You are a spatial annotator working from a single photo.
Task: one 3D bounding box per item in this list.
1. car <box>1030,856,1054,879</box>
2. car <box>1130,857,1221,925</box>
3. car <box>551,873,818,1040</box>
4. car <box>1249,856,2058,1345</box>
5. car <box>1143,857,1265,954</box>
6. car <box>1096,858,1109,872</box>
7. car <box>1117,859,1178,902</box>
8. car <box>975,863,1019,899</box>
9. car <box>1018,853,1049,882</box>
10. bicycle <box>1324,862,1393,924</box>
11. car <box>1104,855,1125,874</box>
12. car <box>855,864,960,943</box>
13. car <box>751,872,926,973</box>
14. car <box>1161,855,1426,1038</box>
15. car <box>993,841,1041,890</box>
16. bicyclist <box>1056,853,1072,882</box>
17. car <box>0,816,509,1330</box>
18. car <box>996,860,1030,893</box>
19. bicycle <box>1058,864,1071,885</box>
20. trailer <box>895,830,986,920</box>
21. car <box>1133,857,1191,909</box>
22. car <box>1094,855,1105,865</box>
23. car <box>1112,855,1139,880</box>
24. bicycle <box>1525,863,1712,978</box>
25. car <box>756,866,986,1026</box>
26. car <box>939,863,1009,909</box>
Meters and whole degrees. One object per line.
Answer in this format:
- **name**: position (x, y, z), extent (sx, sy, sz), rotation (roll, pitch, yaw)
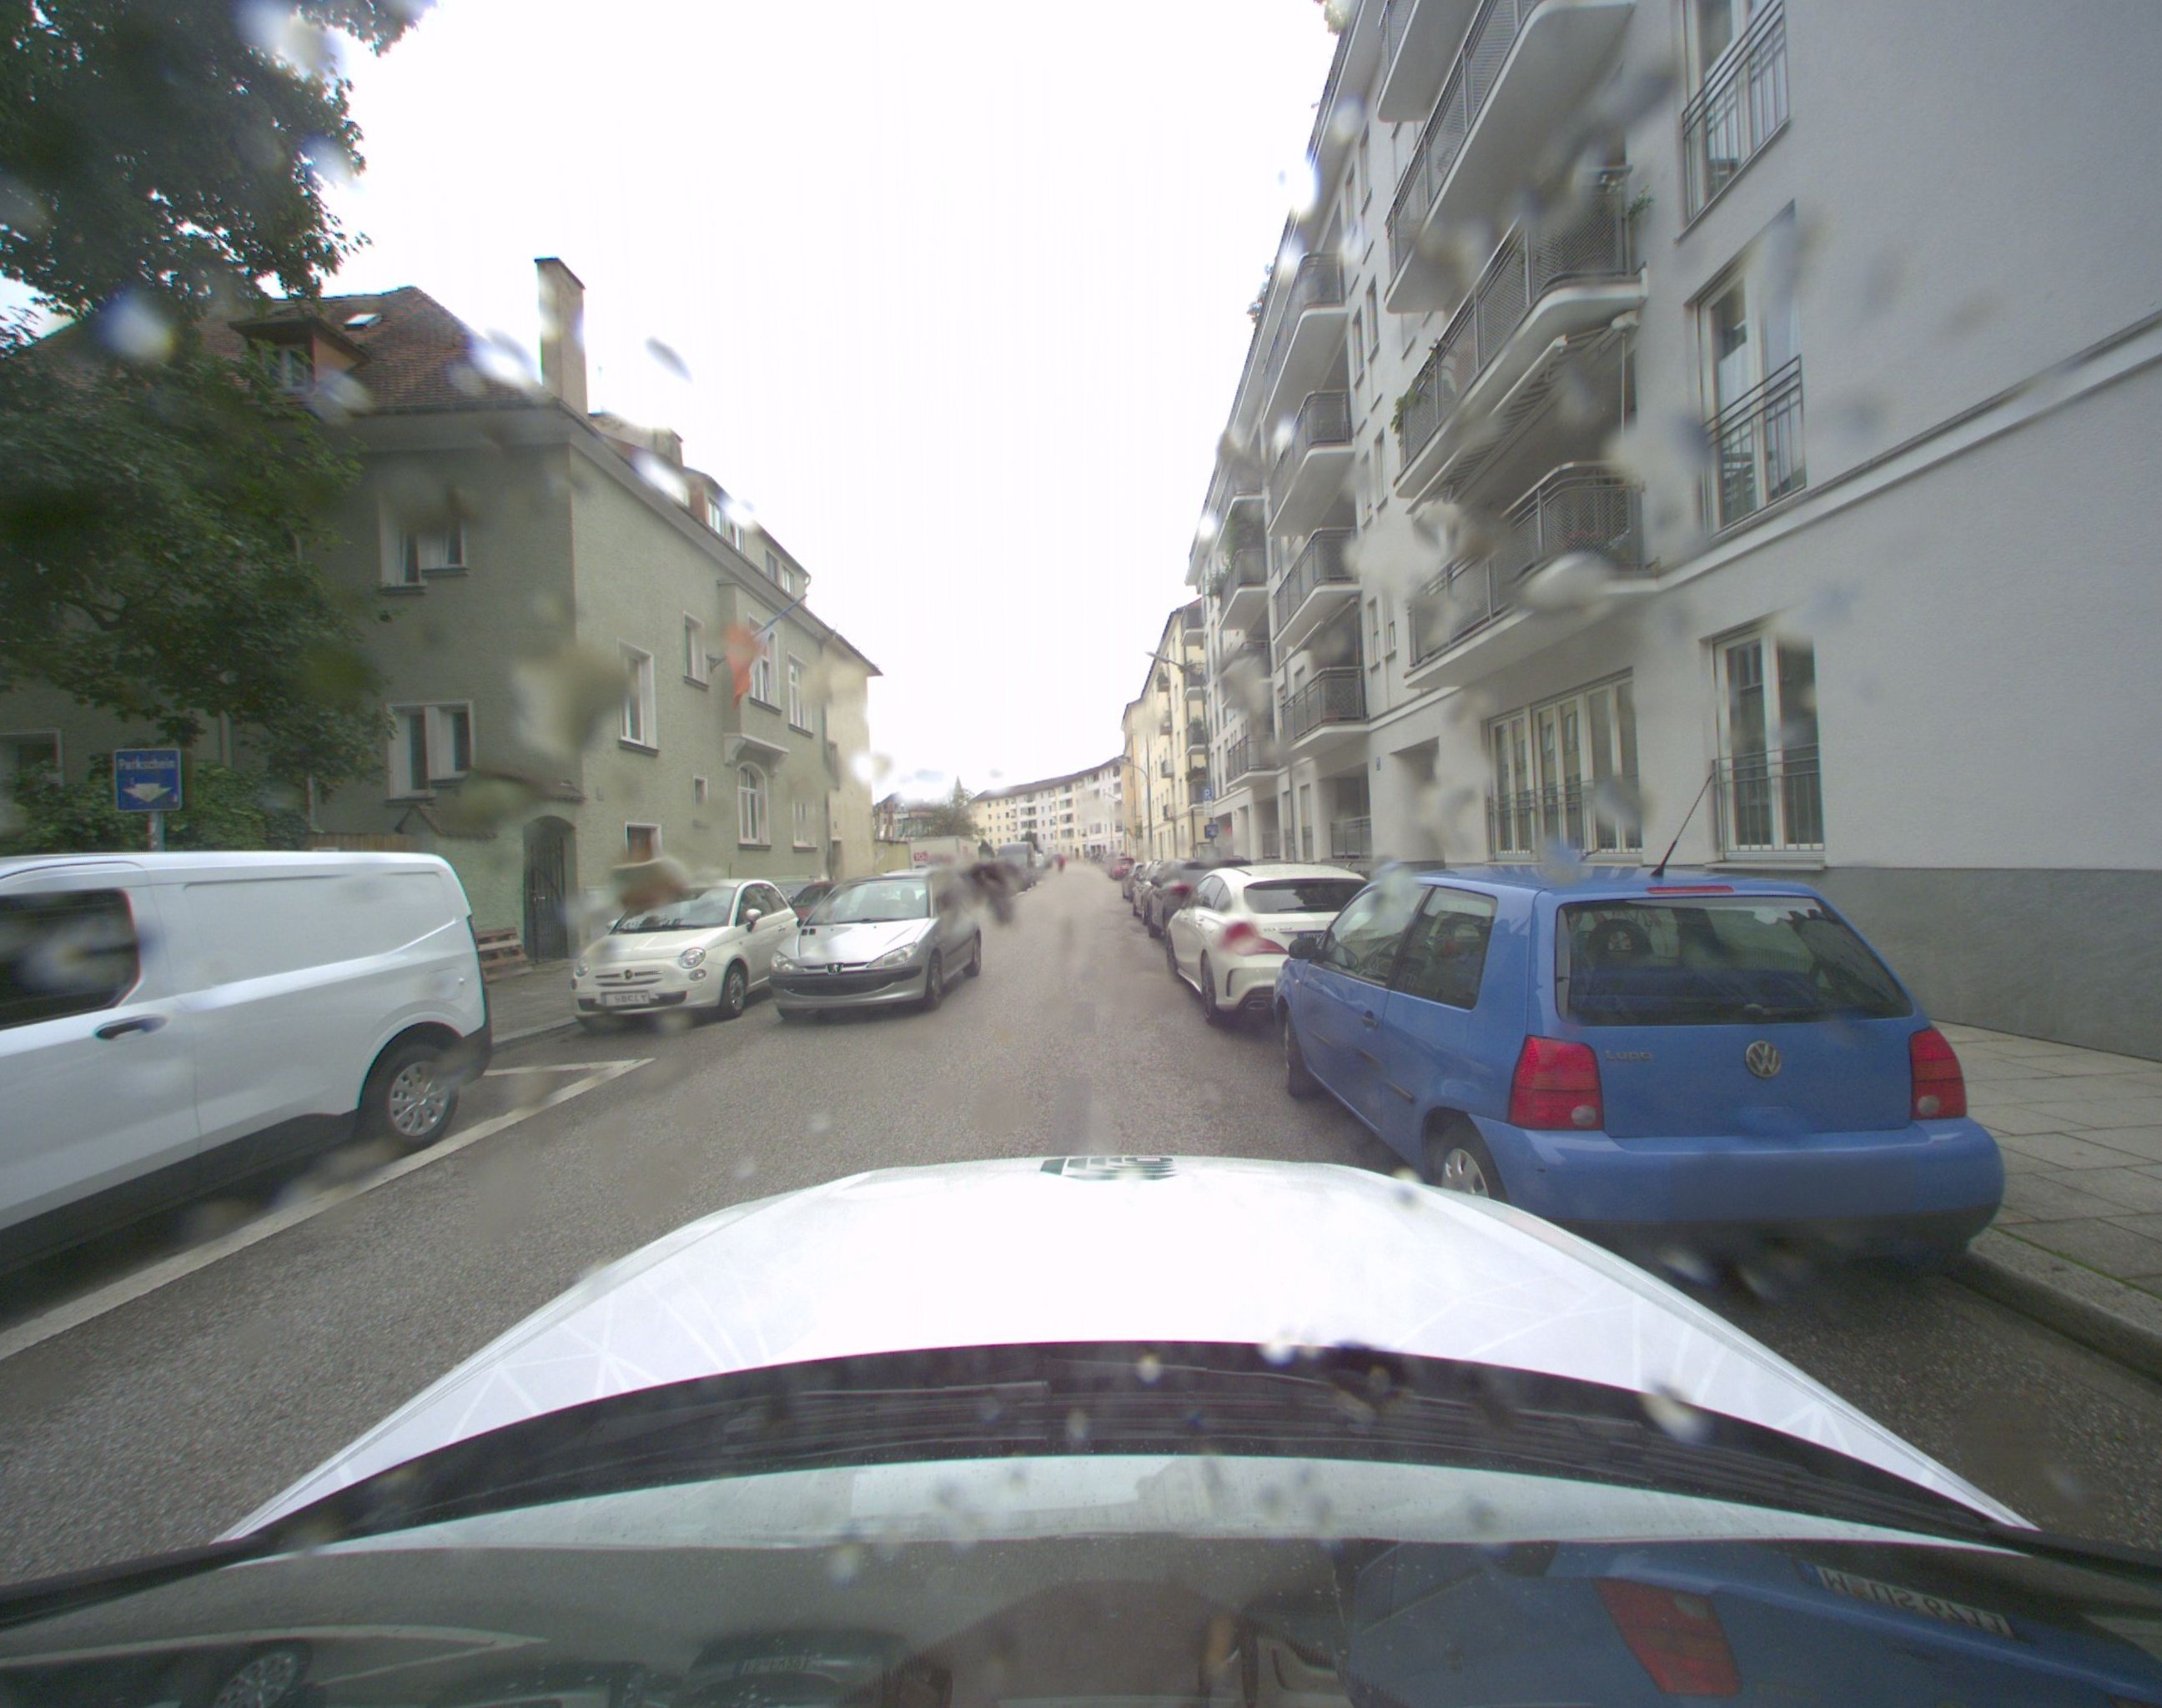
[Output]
- **car**: position (-3.250, 1.097, 67.801), extent (1.696, 1.691, 4.027), rotation (-4, 0, -1)
- **car**: position (2.255, 0.835, 20.573), extent (1.729, 1.530, 4.620), rotation (0, 0, -1)
- **car**: position (-4.417, 1.038, 9.630), extent (1.469, 1.466, 3.312), rotation (-4, 0, -1)
- **car**: position (2.065, 0.735, 4.179), extent (1.614, 1.412, 3.551), rotation (0, -1, -1)
- **car**: position (2.103, 0.827, 14.870), extent (1.599, 1.530, 3.983), rotation (0, 0, -1)
- **car**: position (2.613, 1.346, 99.308), extent (1.469, 1.641, 3.999), rotation (-1, 0, -1)
- **car**: position (2.407, 0.949, 30.366), extent (1.759, 1.408, 4.075), rotation (-2, -1, -2)
- **car**: position (-3.868, 1.229, 37.988), extent (1.696, 1.445, 3.822), rotation (-2, 0, -2)
- **car**: position (-3.475, 0.958, 60.691), extent (1.876, 1.931, 4.601), rotation (-4, 0, 0)
- **bicycle**: position (5.724, 0.772, 16.926), extent (0.625, 1.160, 2.126), rotation (-3, 0, -1)
- **car**: position (2.891, 0.899, 70.163), extent (1.594, 1.491, 3.798), rotation (-2, 0, 0)
- **car**: position (-4.229, 1.147, 20.444), extent (1.681, 1.603, 3.920), rotation (-4, 0, 0)
- **car**: position (-4.207, 1.121, 14.903), extent (1.855, 1.412, 4.332), rotation (-4, -1, -1)
- **car**: position (1.887, 0.739, 8.541), extent (1.653, 1.440, 4.205), rotation (0, 0, -1)
- **car**: position (-3.704, 0.599, 47.910), extent (2.080, 2.636, 5.380), rotation (-3, 0, 2)
- **bicyclist**: position (-0.932, 0.727, 44.692), extent (0.691, 1.561, 0.967), rotation (-4, 0, 3)
- **car**: position (-4.678, 0.823, 3.301), extent (1.685, 1.803, 4.144), rotation (-4, 0, 0)
- **car**: position (-3.519, 1.151, 42.839), extent (1.582, 1.538, 3.539), rotation (-3, -1, -3)
- **bicycle**: position (-0.914, 1.113, 44.748), extent (0.502, 1.128, 1.775), rotation (-4, 0, 3)
- **trailer**: position (-4.329, 0.601, 25.750), extent (1.702, 2.461, 4.390), rotation (-4, 0, 3)
- **car**: position (2.546, 0.877, 26.181), extent (1.514, 1.530, 3.526), rotation (-1, 0, 0)
- **car**: position (2.525, 0.871, 111.077), extent (1.268, 1.299, 2.796), rotation (-2, 0, -1)
- **car**: position (2.936, 0.867, 54.261), extent (1.590, 1.509, 3.801), rotation (-3, 0, 1)
- **bicycle**: position (5.459, 0.644, 8.434), extent (0.675, 1.028, 1.834), rotation (-3, -2, 0)
- **car**: position (-2.185, 0.894, 9.451), extent (1.575, 1.411, 3.614), rotation (-3, -1, 2)
- **car**: position (-4.067, 1.178, 31.649), extent (1.759, 1.538, 4.544), rotation (-4, -1, 3)
